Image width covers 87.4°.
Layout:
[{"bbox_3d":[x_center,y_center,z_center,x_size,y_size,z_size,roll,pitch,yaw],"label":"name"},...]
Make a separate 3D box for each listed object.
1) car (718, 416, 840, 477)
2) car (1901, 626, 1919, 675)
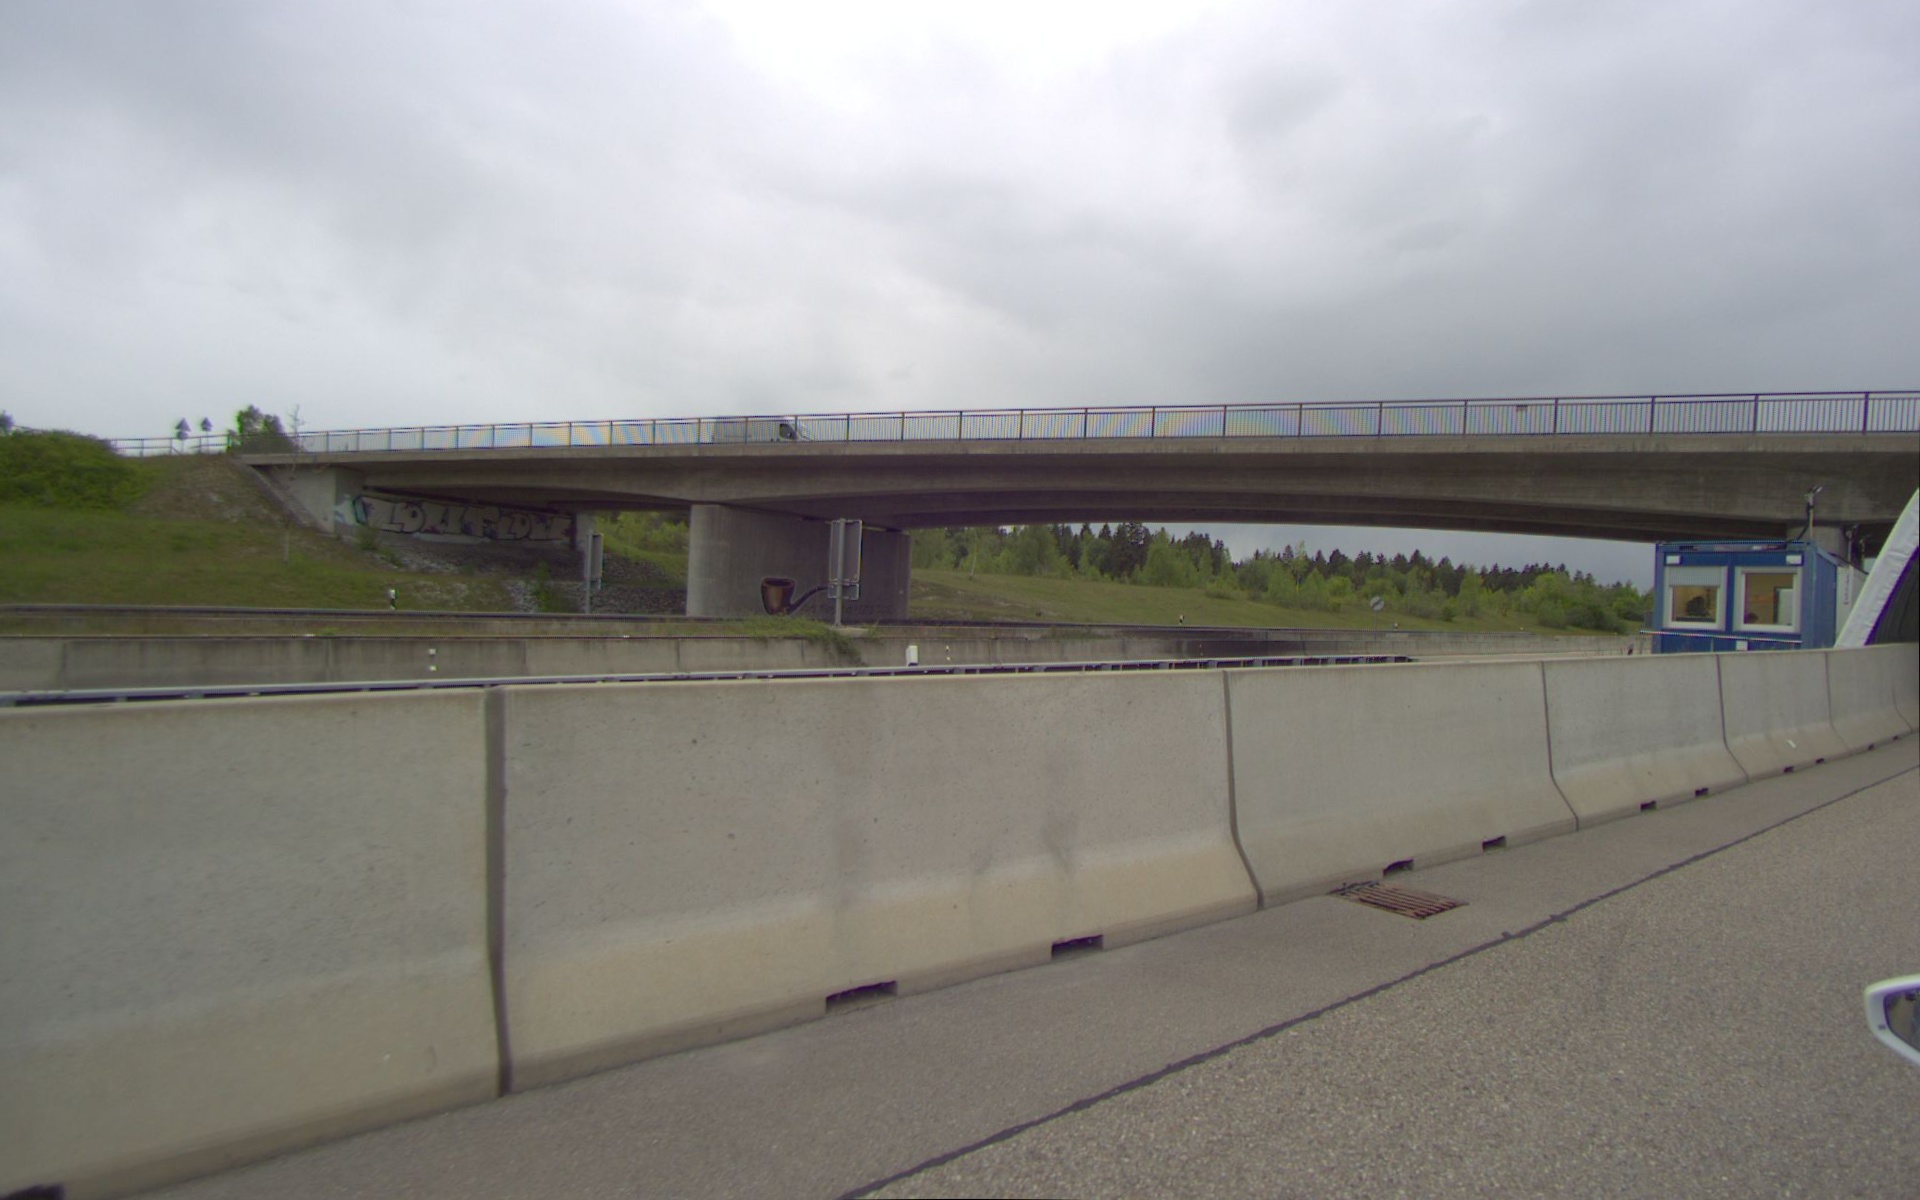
[{"bbox_3d":[-8.780,-7.346,48.537,5.643,2.281,1.999,0,-1,24],"label":"car"},{"bbox_3d":[38.965,1.994,38.442,1.686,1.878,3.976,2,-1,-24],"label":"car"}]
